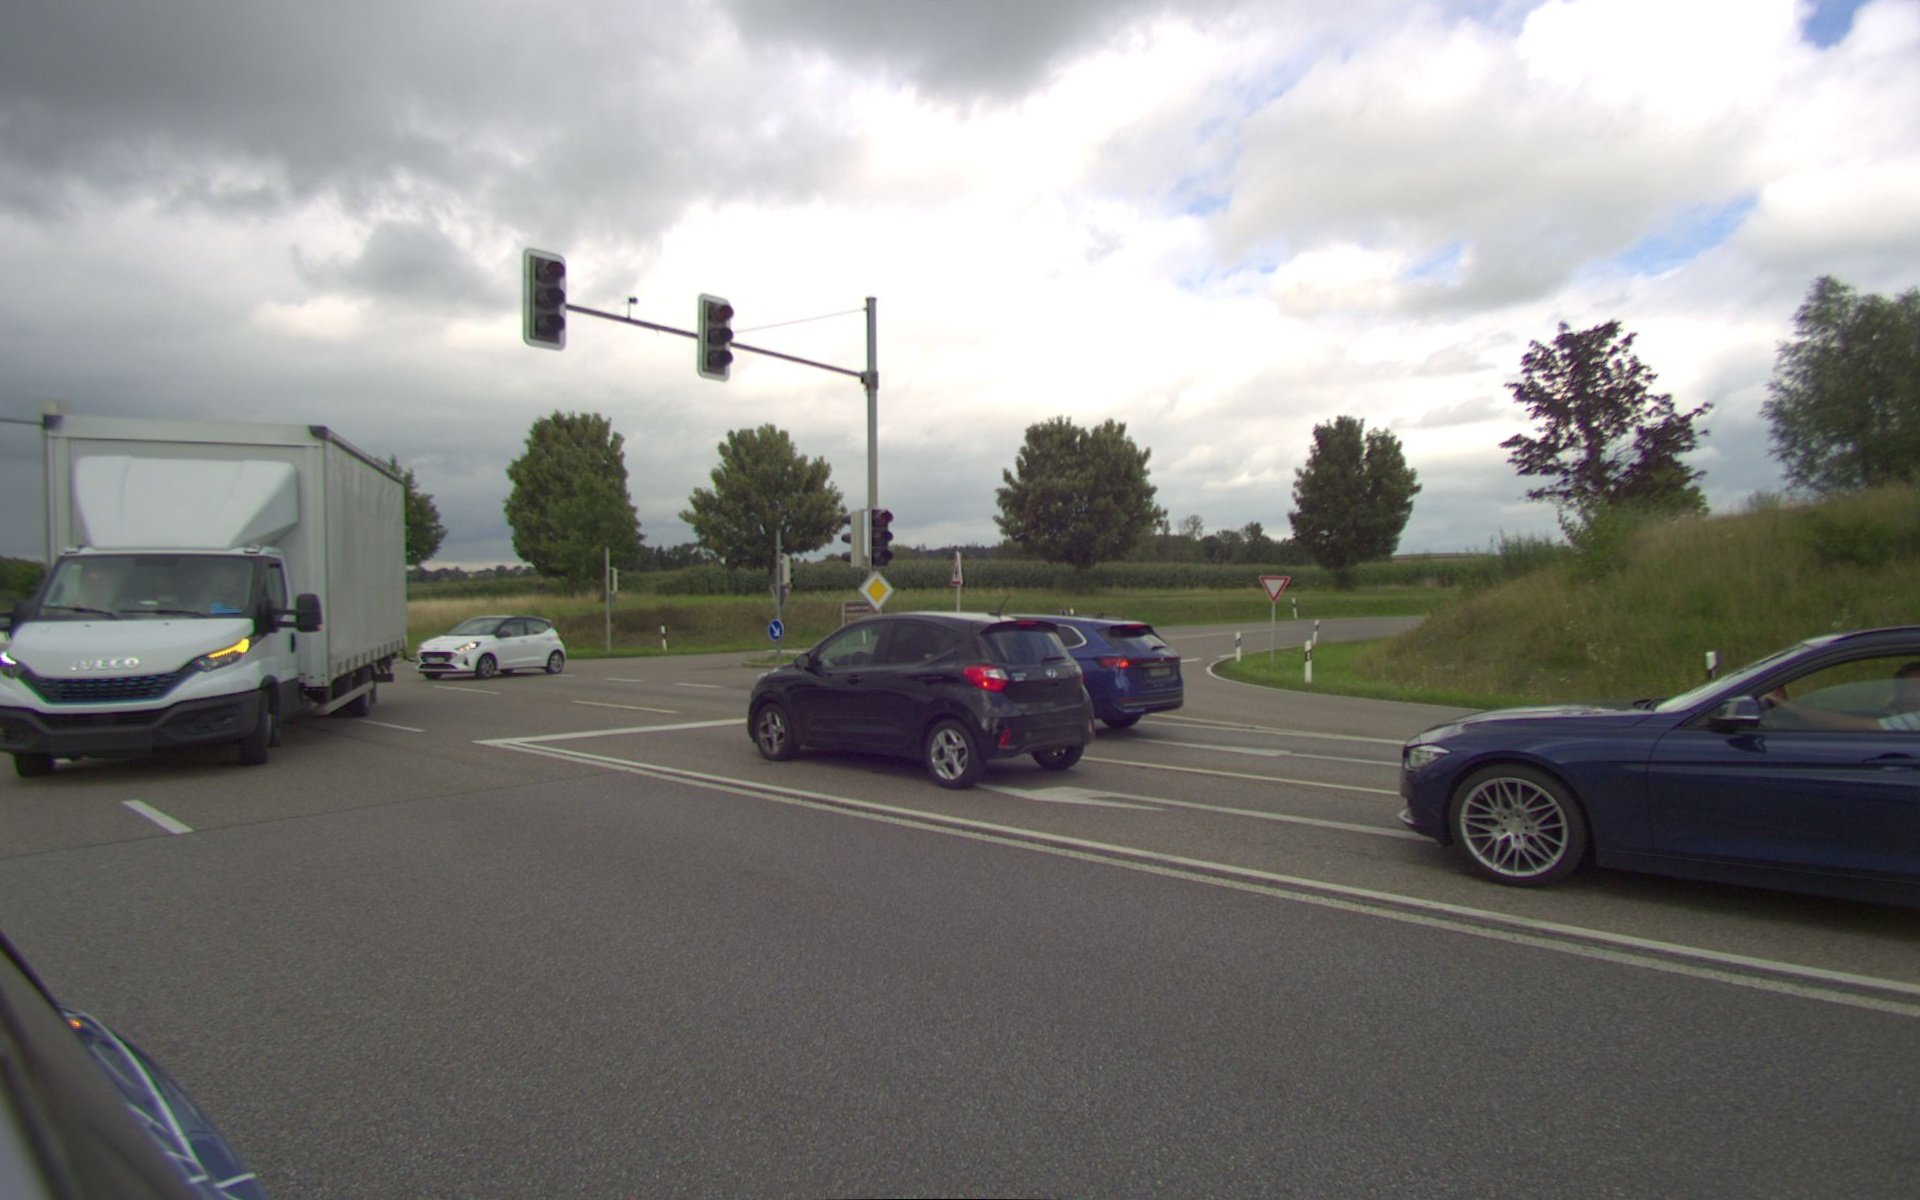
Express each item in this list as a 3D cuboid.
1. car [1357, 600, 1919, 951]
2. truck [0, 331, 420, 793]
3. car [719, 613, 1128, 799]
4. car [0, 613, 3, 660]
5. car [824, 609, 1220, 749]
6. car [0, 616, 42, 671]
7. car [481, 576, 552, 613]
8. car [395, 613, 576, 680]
[{"bbox_3d":[4.807,0.771,5.061,4.878,1.495,2.027,-1,-2,41],"label":"car"},{"bbox_3d":[-8.966,-0.246,12.586,2.790,3.792,8.828,0,-1,-20],"label":"truck"},{"bbox_3d":[-0.499,0.869,9.883,3.943,1.454,1.707,-1,-2,42],"label":"car"},{"bbox_3d":[-35.374,1.314,35.747,4.322,1.642,1.972,-1,0,42],"label":"car"},{"bbox_3d":[0.663,0.919,13.616,5.122,1.546,2.025,-1,-1,40],"label":"car"},{"bbox_3d":[-29.551,1.307,30.746,4.747,1.576,1.972,-1,0,42],"label":"car"},{"bbox_3d":[-25.956,-0.315,59.232,3.990,2.029,1.977,-1,1,35],"label":"car"},{"bbox_3d":[-11.397,1.068,24.619,1.795,1.463,3.978,-1,-1,17],"label":"car"}]
